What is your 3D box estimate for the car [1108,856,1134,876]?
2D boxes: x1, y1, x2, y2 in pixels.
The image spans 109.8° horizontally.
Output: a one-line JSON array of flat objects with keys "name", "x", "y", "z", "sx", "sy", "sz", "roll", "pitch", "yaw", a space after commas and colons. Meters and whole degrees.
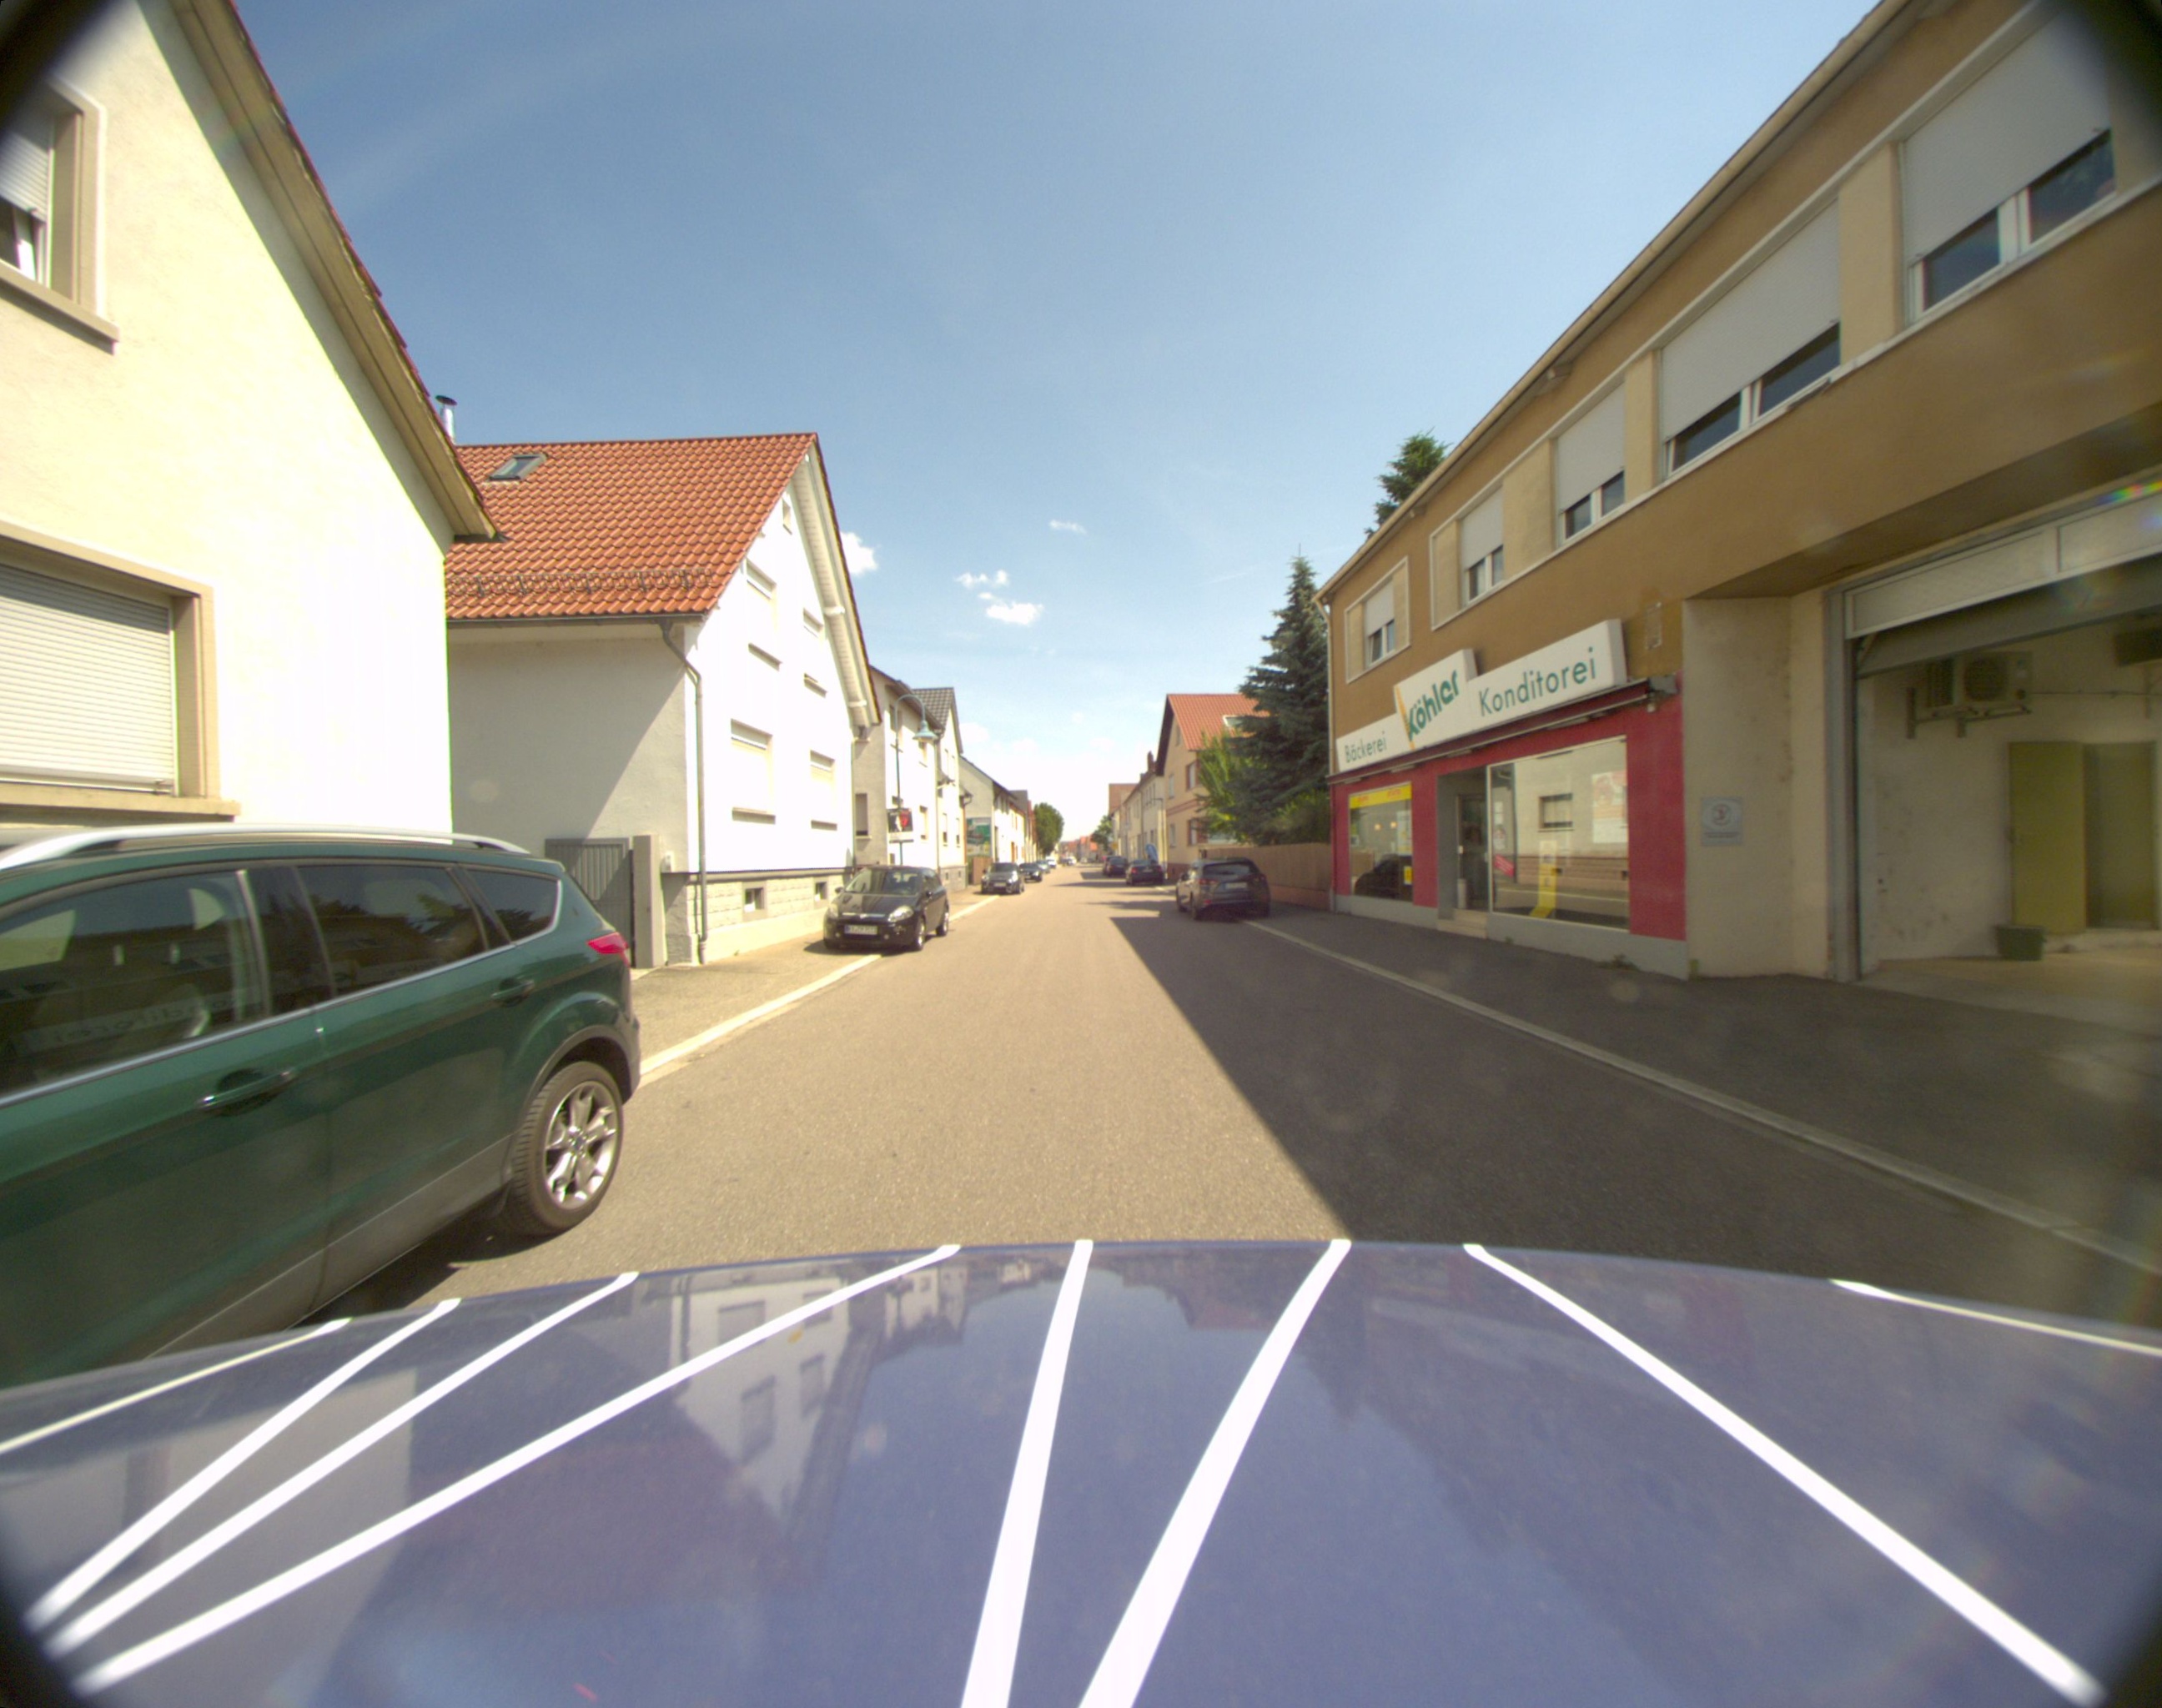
[{"name": "car", "x": 3.002, "y": 0.888, "z": 58.117, "sx": 1.702, "sy": 1.403, "sz": 4.389, "roll": -2, "pitch": 0, "yaw": 0}]

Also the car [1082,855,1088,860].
[{"name": "car", "x": 1.011, "y": 1.019, "z": 209.740, "sx": 1.598, "sy": 1.385, "sz": 4.168, "roll": -3, "pitch": 0, "yaw": 0}]

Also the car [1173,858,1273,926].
[{"name": "car", "x": 3.461, "y": 0.877, "z": 19.325, "sx": 1.772, "sy": 1.451, "sz": 4.436, "roll": -2, "pitch": 0, "yaw": 1}]

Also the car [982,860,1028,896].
[{"name": "car", "x": -3.350, "y": 1.026, "z": 33.984, "sx": 1.693, "sy": 1.414, "sz": 3.656, "roll": -1, "pitch": 0, "yaw": 0}]

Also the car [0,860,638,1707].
[{"name": "car", "x": -2.987, "y": 0.908, "z": 1.567, "sx": 1.733, "sy": 1.707, "sz": 4.274, "roll": -2, "pitch": 0, "yaw": -2}]

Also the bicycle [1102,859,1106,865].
[{"name": "bicycle", "x": 4.238, "y": 1.525, "z": 139.080, "sx": 0.744, "sy": 1.041, "sz": 1.940, "roll": -2, "pitch": 0, "yaw": 3}]

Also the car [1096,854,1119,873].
[{"name": "car", "x": 2.207, "y": 0.804, "z": 65.048, "sx": 1.722, "sy": 1.630, "sz": 4.148, "roll": 0, "pitch": 0, "yaw": -2}]

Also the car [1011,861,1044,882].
[{"name": "car", "x": -3.531, "y": 1.124, "z": 50.560, "sx": 1.820, "sy": 1.268, "sz": 4.146, "roll": -2, "pitch": 0, "yaw": 0}]

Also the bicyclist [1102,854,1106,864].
[{"name": "bicyclist", "x": 4.215, "y": 0.917, "z": 139.147, "sx": 0.748, "sy": 1.627, "sz": 0.956, "roll": -2, "pitch": 0, "yaw": 3}]

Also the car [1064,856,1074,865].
[{"name": "car", "x": -2.230, "y": 1.302, "z": 145.617, "sx": 1.598, "sy": 1.533, "sz": 4.200, "roll": -3, "pitch": 1, "yaw": 2}]

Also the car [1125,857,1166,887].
[{"name": "car", "x": 3.363, "y": 0.913, "z": 40.296, "sx": 1.766, "sy": 1.366, "sz": 4.066, "roll": -3, "pitch": 0, "yaw": -1}]

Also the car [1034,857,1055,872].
[{"name": "car", "x": -3.754, "y": 1.041, "z": 79.184, "sx": 1.725, "sy": 1.473, "sz": 3.750, "roll": 2, "pitch": 0, "yaw": 4}]

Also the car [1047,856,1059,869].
[{"name": "car", "x": -4.223, "y": 1.284, "z": 115.751, "sx": 1.692, "sy": 1.831, "sz": 4.764, "roll": 1, "pitch": 0, "yaw": 0}]

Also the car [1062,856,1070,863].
[{"name": "car", "x": -3.546, "y": 1.238, "z": 180.547, "sx": 1.848, "sy": 1.385, "sz": 4.169, "roll": -2, "pitch": -2, "yaw": -3}]

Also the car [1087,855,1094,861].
[{"name": "car", "x": 2.336, "y": 1.041, "z": 194.042, "sx": 1.726, "sy": 1.385, "sz": 4.170, "roll": -2, "pitch": -2, "yaw": 1}]

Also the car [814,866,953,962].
[{"name": "car", "x": -3.581, "y": 1.022, "z": 14.462, "sx": 1.621, "sy": 1.487, "sz": 3.971, "roll": 1, "pitch": 0, "yaw": -1}]
